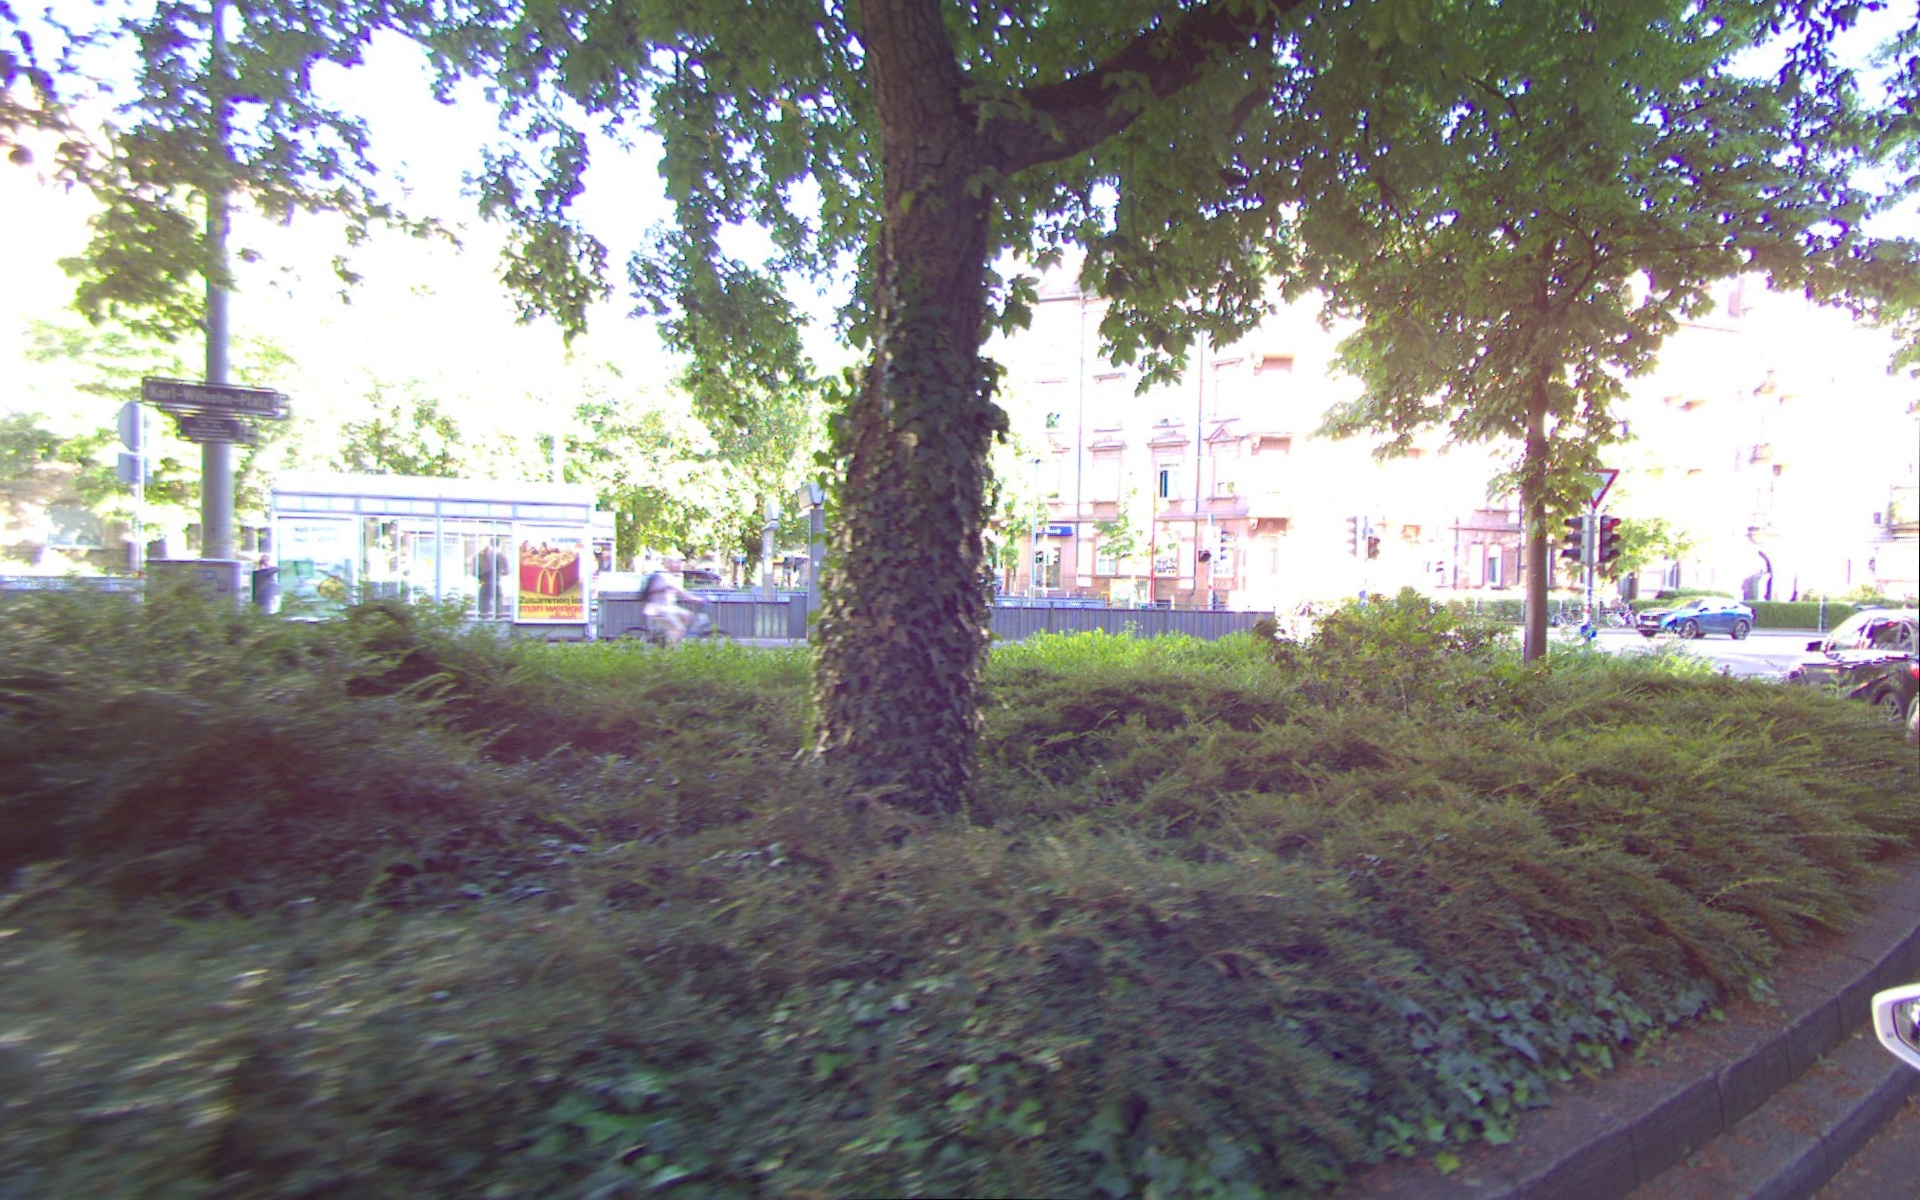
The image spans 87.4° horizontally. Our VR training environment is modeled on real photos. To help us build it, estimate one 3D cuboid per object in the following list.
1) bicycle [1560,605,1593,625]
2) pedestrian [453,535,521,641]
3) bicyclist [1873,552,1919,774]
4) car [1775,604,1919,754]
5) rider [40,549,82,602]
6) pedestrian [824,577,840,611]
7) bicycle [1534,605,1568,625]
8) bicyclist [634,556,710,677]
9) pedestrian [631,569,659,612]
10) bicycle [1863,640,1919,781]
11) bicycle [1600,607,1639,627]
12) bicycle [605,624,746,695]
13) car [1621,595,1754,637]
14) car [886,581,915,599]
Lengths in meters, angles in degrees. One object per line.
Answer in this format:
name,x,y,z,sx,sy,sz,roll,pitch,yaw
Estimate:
bicycle,27.756,0.671,45.231,1.199,0.873,0.450,2,1,1
pedestrian,-8.860,-0.216,18.857,1.003,1.923,0.909,1,2,-17
bicyclist,8.929,0.549,8.957,0.837,1.924,1.138,2,1,27
car,11.550,0.831,11.987,1.784,1.564,3.957,0,0,23
rider,-30.396,-0.825,33.969,0.805,1.704,0.671,4,2,15
pedestrian,-7.775,-0.351,61.038,0.790,2.041,0.568,0,2,-33
bicycle,26.573,0.676,45.162,1.199,0.873,0.450,2,1,1
bicyclist,-4.271,0.237,14.906,1.030,1.739,0.693,1,2,-17
pedestrian,-11.696,-0.359,37.323,0.797,1.564,0.820,3,2,-6
bicycle,8.973,1.008,9.165,0.588,1.177,2.038,2,1,29
bicycle,30.091,0.770,45.848,1.418,0.873,0.450,2,1,1
bicycle,-4.187,0.870,14.848,1.950,0.971,0.768,1,1,-17
car,28.913,0.643,39.960,4.300,1.516,1.994,1,1,-14
car,-5.578,-0.968,95.217,1.730,1.629,4.002,2,1,11
